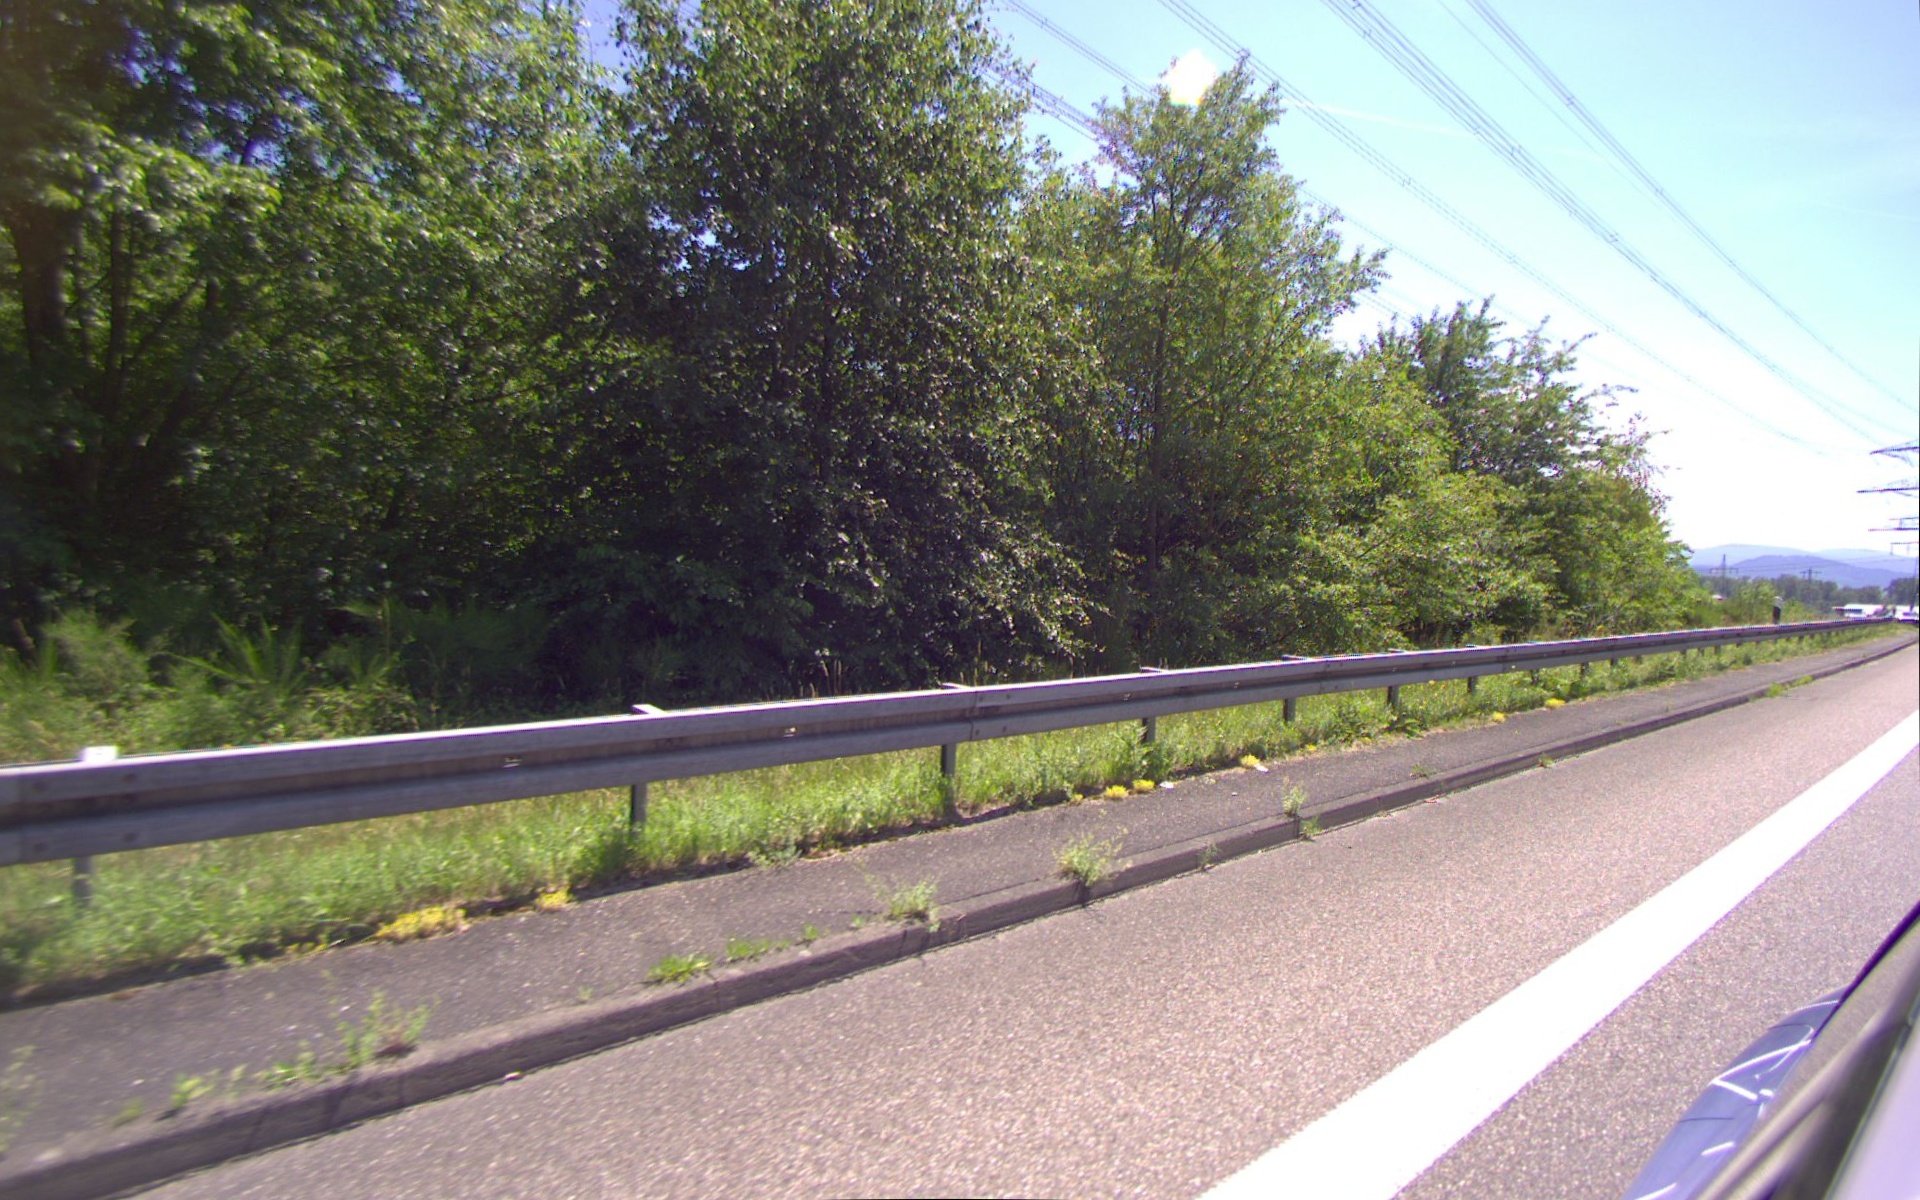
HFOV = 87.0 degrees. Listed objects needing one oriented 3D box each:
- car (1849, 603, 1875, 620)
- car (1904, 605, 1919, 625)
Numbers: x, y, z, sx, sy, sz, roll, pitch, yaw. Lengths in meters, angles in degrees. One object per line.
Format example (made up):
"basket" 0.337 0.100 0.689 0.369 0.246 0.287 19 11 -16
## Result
"car" 93.159 1.174 104.540 1.993 1.705 3.939 1 0 42
"car" 86.056 1.355 90.690 1.993 1.705 3.939 1 0 42
